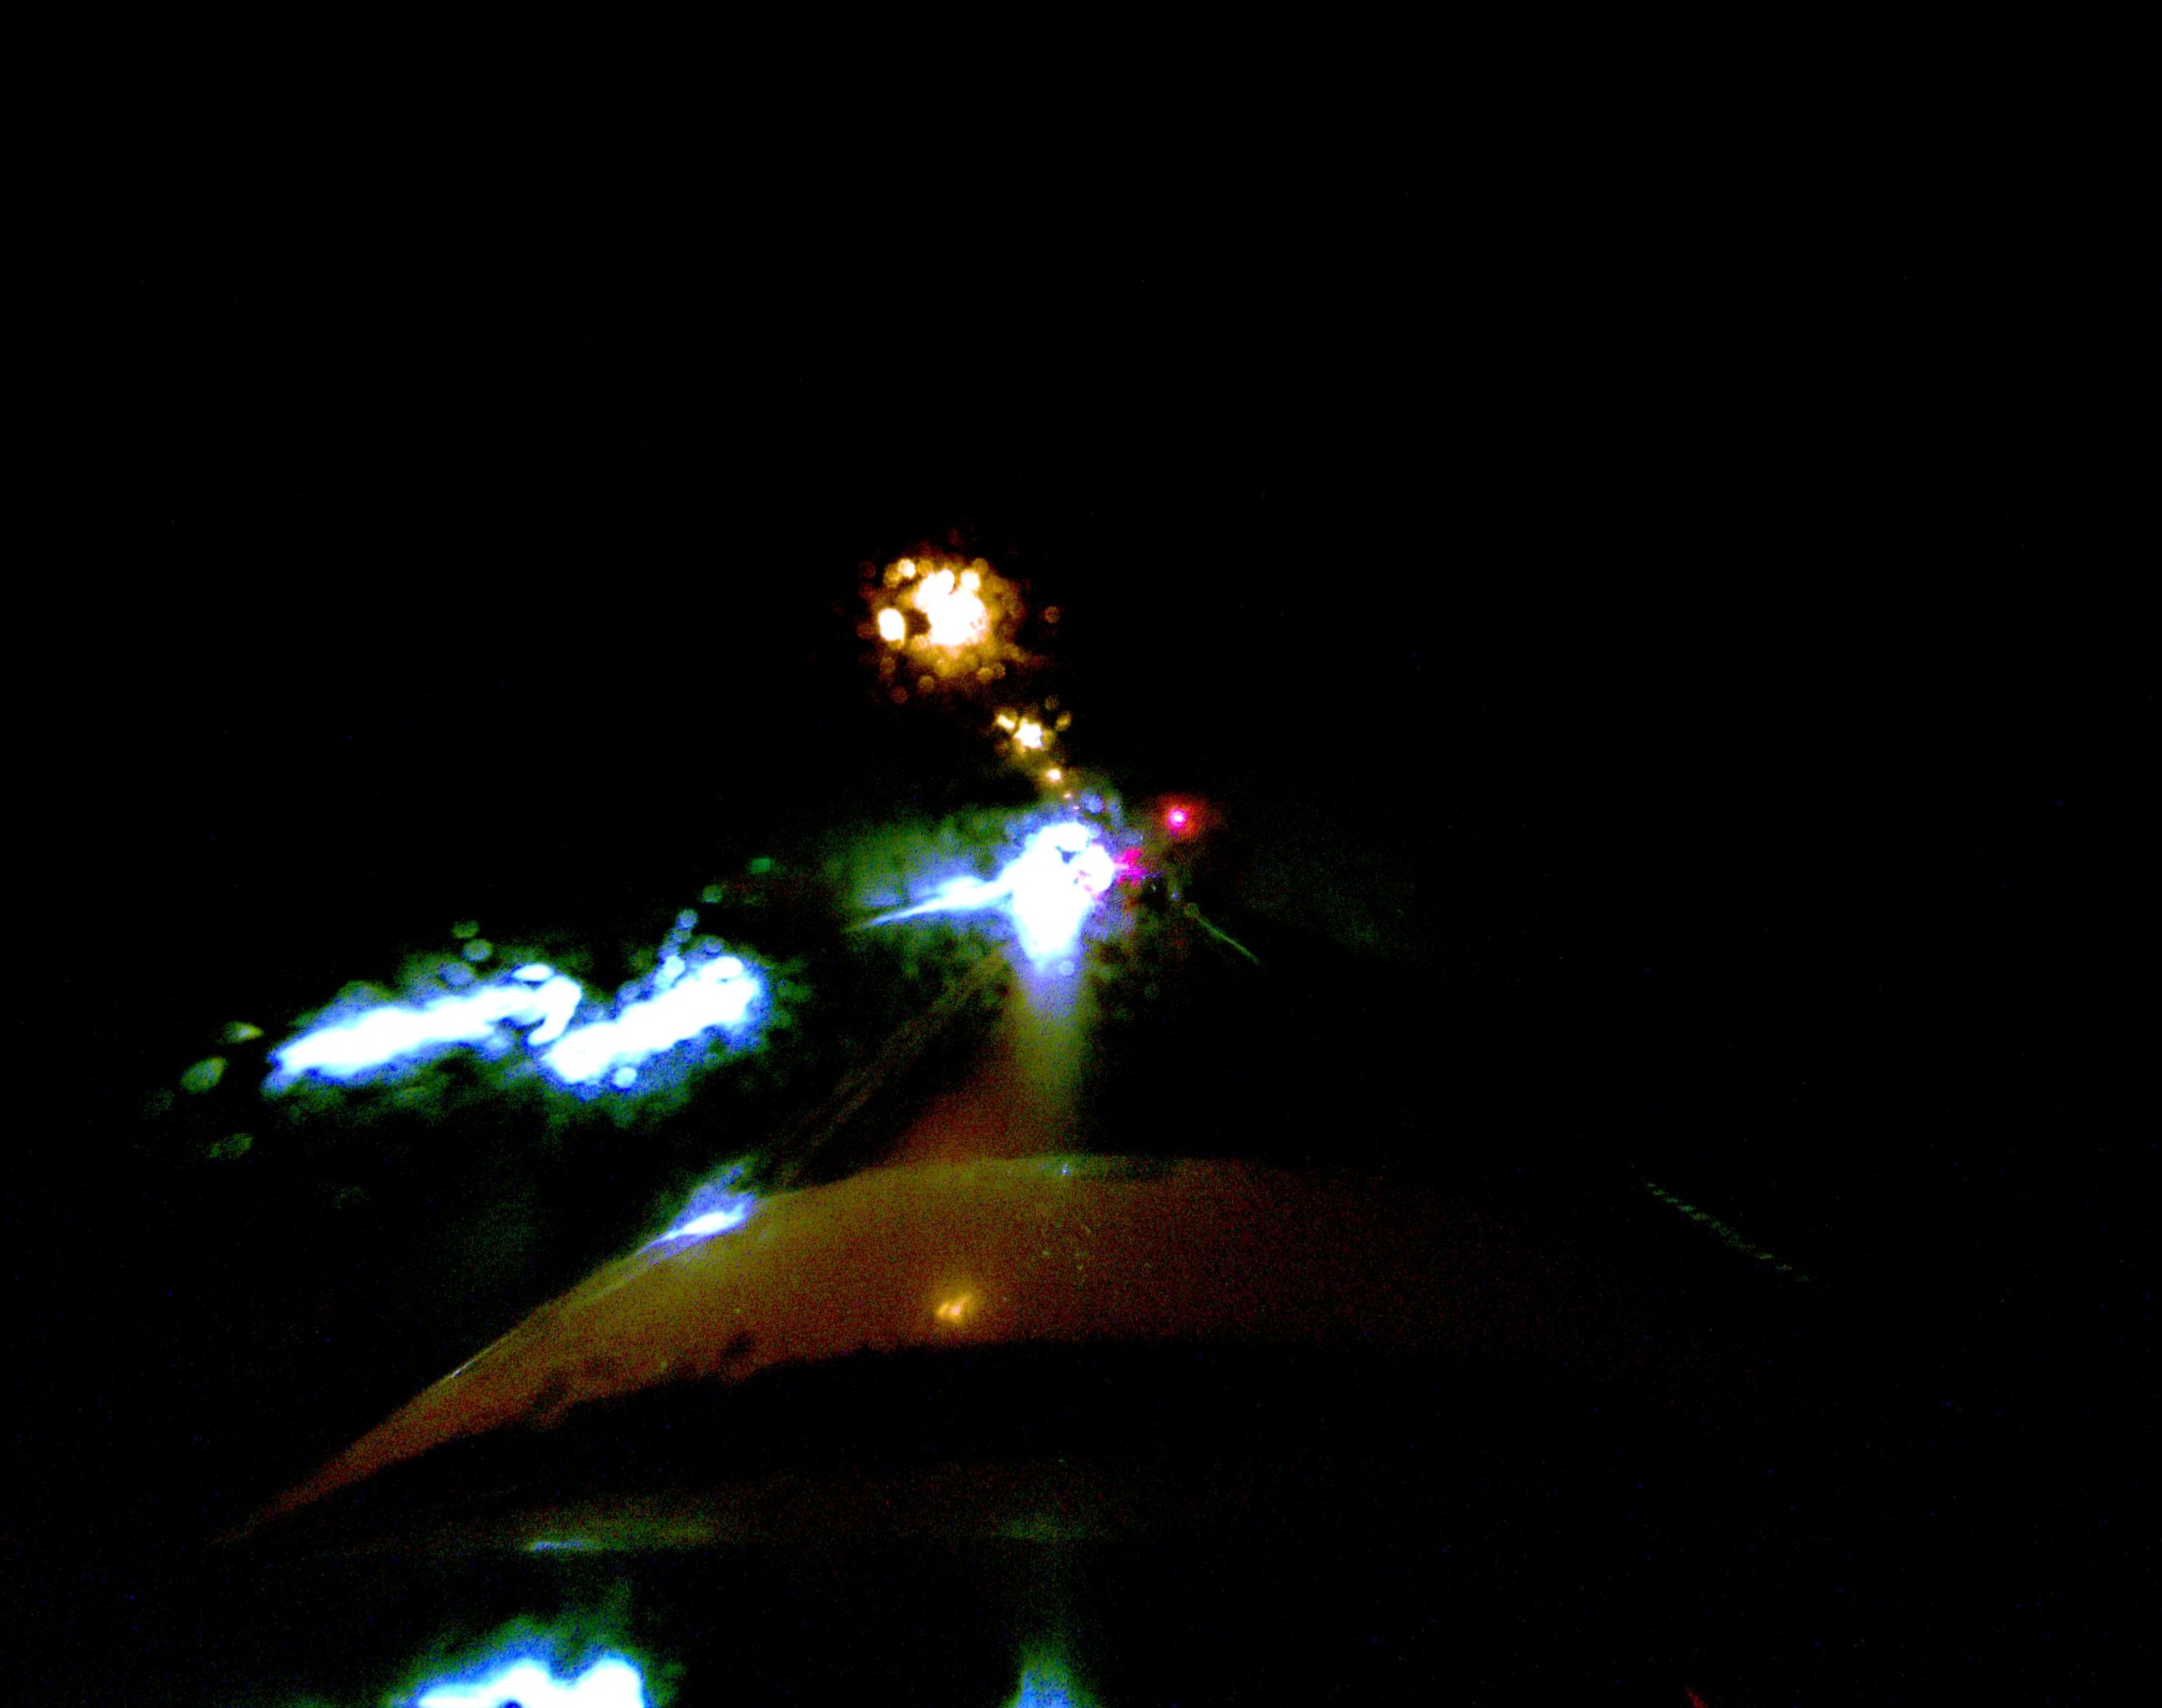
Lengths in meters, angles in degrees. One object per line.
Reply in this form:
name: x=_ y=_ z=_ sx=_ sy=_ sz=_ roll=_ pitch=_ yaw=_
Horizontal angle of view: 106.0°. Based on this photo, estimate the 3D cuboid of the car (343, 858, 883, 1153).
car: x=-2.895 y=0.792 z=6.157 sx=1.788 sy=1.482 sz=3.869 roll=-1 pitch=0 yaw=1

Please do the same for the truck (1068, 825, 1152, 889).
truck: x=1.424 y=0.136 z=39.581 sx=3.521 sy=2.693 sz=8.960 roll=-1 pitch=0 yaw=2

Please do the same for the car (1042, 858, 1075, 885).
car: x=-1.336 y=1.051 z=49.305 sx=1.750 sy=1.528 sz=3.816 roll=1 pitch=0 yaw=2
